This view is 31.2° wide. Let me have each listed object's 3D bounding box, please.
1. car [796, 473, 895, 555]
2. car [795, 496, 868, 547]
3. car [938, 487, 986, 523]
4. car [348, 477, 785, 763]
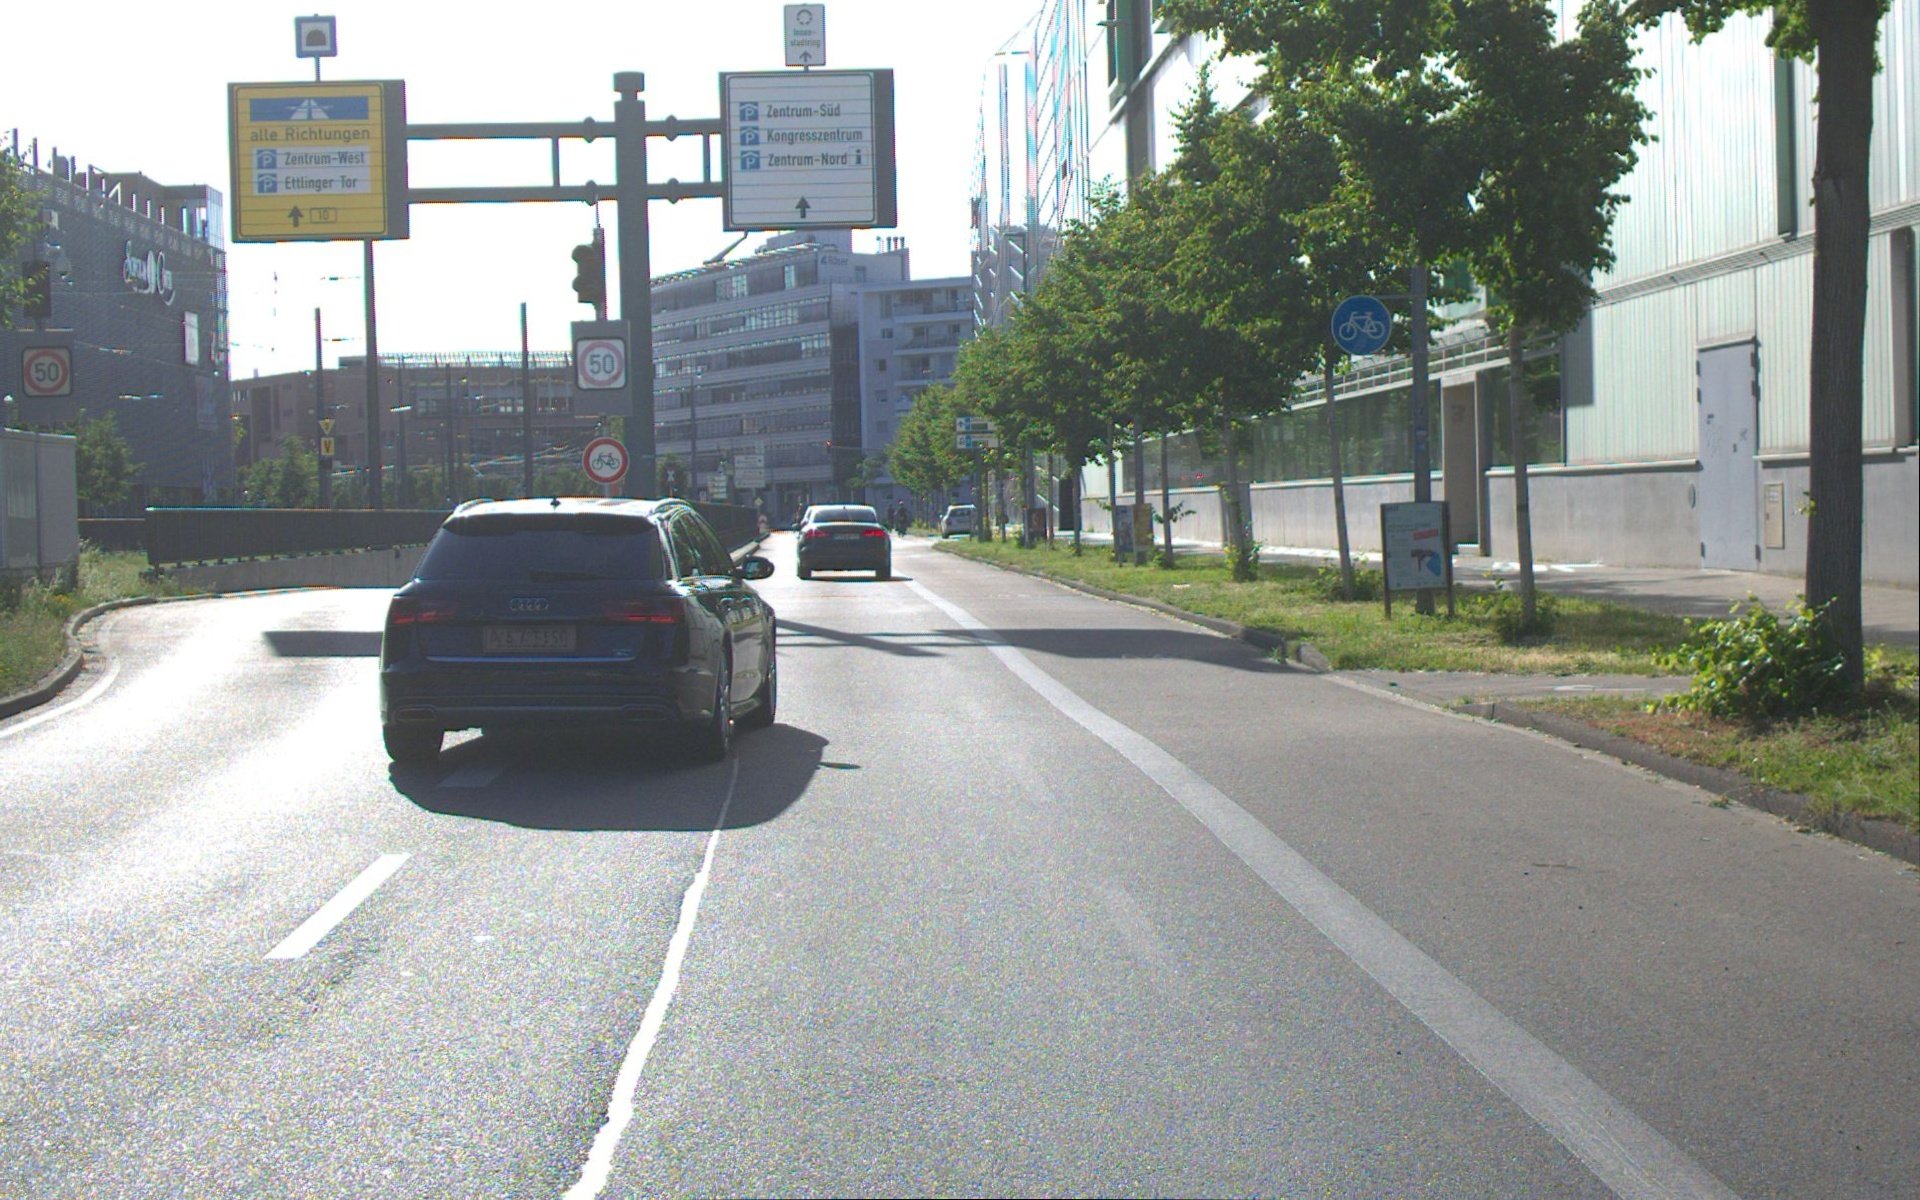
[{"bbox_3d":[-2.201,-1.680,66.324,1.852,1.540,4.001,0,2,-2],"label":"car"},{"bbox_3d":[-3.937,-2.410,104.919,1.993,1.460,4.001,-1,3,-5],"label":"car"},{"bbox_3d":[0.073,-4.342,156.906,1.852,1.476,4.855,-3,2,-3],"label":"car"},{"bbox_3d":[-2.139,0.023,20.004,1.812,1.422,4.690,-1,2,2],"label":"car"}]
